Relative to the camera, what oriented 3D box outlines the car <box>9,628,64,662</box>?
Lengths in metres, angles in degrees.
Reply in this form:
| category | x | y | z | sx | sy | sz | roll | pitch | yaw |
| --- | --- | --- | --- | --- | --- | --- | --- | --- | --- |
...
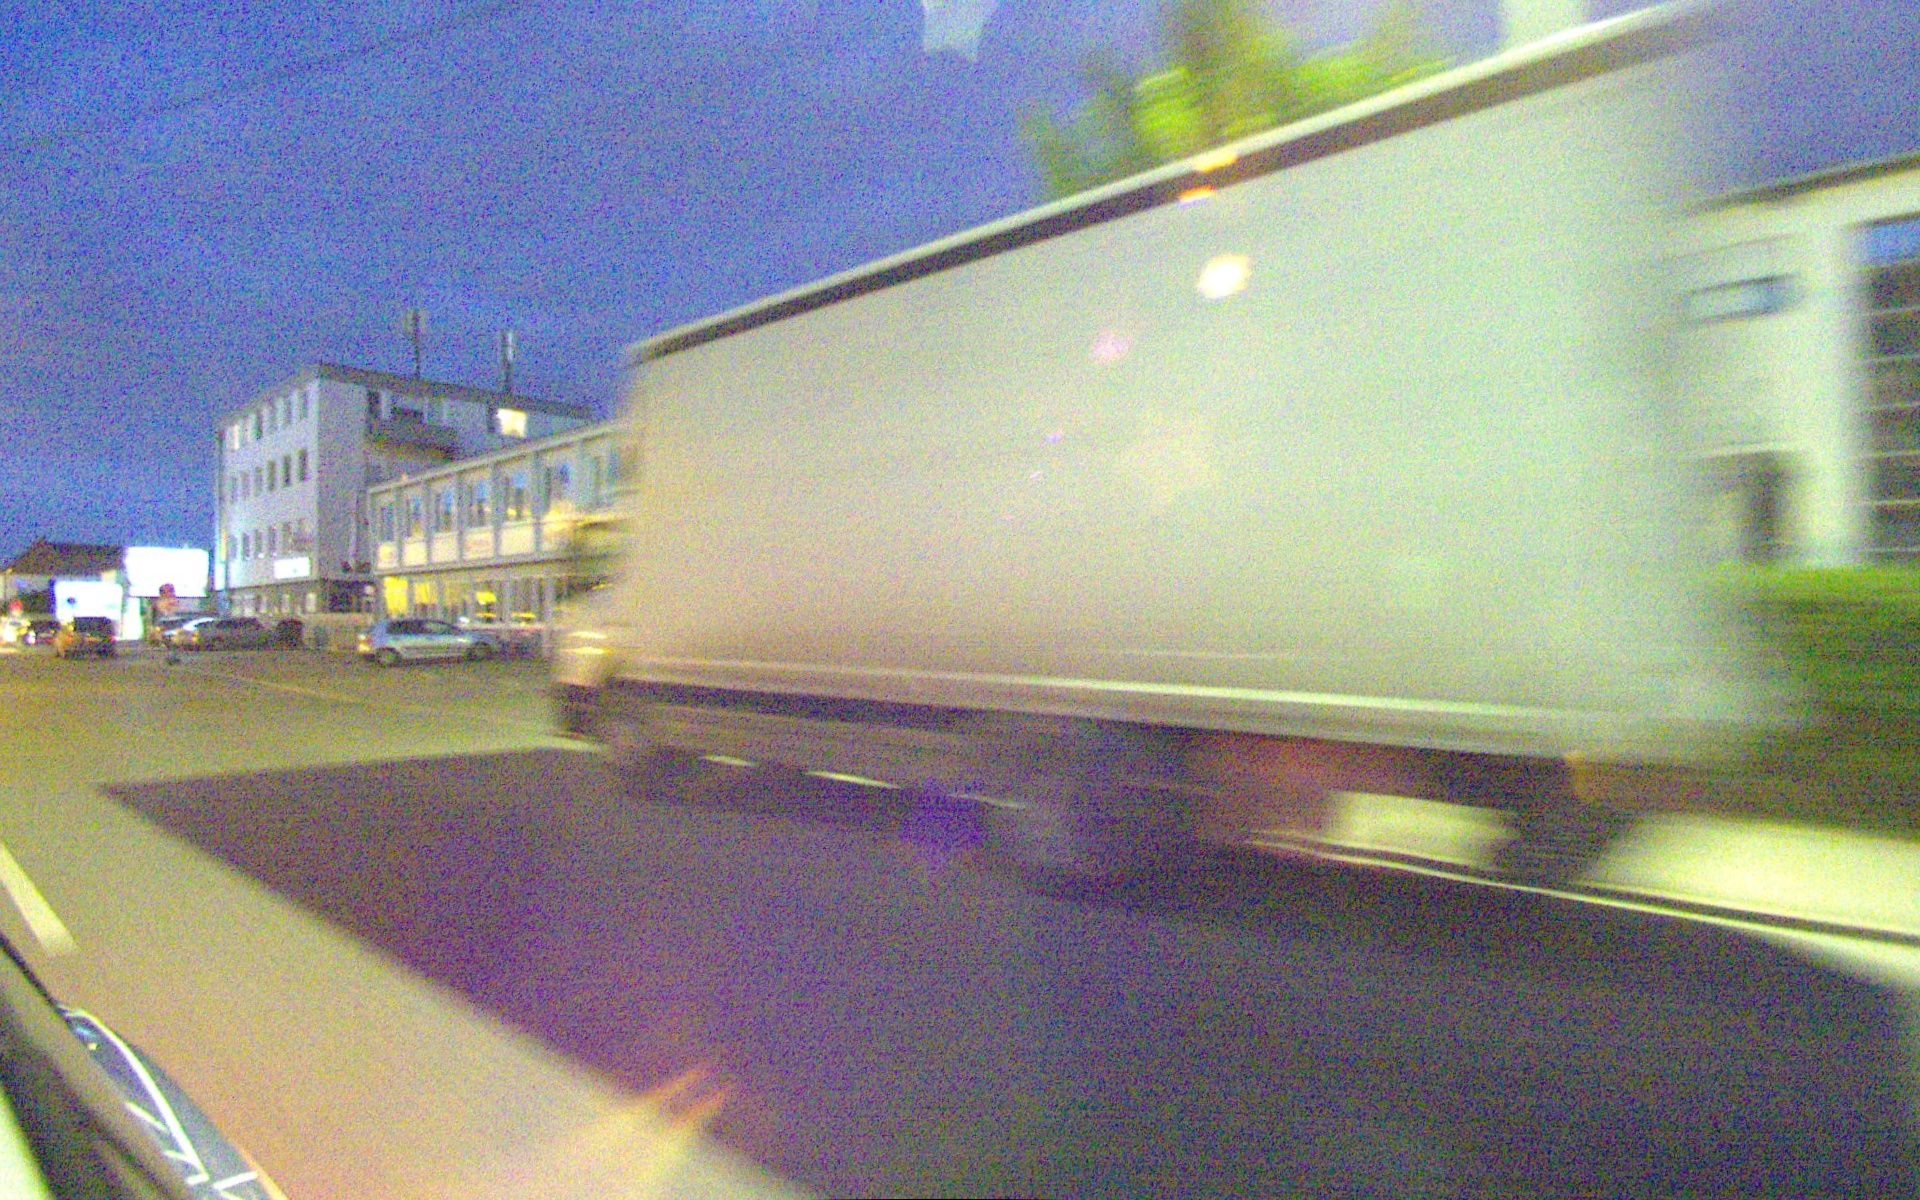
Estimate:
| category | x | y | z | sx | sy | sz | roll | pitch | yaw |
| --- | --- | --- | --- | --- | --- | --- | --- | --- | --- |
| car | -48.621 | 2.339 | 53.250 | 4.818 | 1.701 | 1.925 | -2 | -2 | 45 |

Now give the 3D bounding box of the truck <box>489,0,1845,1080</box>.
| category | x | y | z | sx | sy | sz | roll | pitch | yaw |
| --- | --- | --- | --- | --- | --- | --- | --- | --- | --- |
| truck | 0.054 | -0.406 | 7.424 | 9.554 | 4.065 | 2.718 | -1 | -2 | 41 |

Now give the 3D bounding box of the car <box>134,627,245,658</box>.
| category | x | y | z | sx | sy | sz | roll | pitch | yaw |
| --- | --- | --- | --- | --- | --- | --- | --- | --- | --- |
| car | -40.928 | 2.238 | 53.901 | 1.984 | 1.572 | 4.388 | -1 | -1 | 18 |

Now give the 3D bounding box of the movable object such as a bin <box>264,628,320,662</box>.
| category | x | y | z | sx | sy | sz | roll | pitch | yaw |
| --- | --- | --- | --- | --- | --- | --- | --- | --- | --- |
| movable object such as a bin | -30.727 | 2.058 | 46.585 | 1.609 | 1.511 | 1.837 | -2 | -1 | 43 |

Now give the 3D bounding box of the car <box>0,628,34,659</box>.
| category | x | y | z | sx | sy | sz | roll | pitch | yaw |
| --- | --- | --- | --- | --- | --- | --- | --- | --- | --- |
| car | -56.738 | 2.587 | 60.401 | 4.878 | 1.812 | 1.784 | -2 | -2 | 43 |

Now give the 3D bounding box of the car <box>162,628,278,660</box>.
| category | x | y | z | sx | sy | sz | roll | pitch | yaw |
| --- | --- | --- | --- | --- | --- | --- | --- | --- | --- |
| car | -35.046 | 2.047 | 48.079 | 1.776 | 1.451 | 4.395 | -1 | -1 | 13 |

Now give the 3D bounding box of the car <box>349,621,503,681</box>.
| category | x | y | z | sx | sy | sz | roll | pitch | yaw |
| --- | --- | --- | --- | --- | --- | --- | --- | --- | --- |
| car | -16.615 | 1.541 | 31.597 | 4.071 | 1.443 | 1.902 | -5 | 1 | -29 |

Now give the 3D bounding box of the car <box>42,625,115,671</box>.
| category | x | y | z | sx | sy | sz | roll | pitch | yaw |
| --- | --- | --- | --- | --- | --- | --- | --- | --- | --- |
| car | -37.633 | 2.010 | 43.173 | 4.413 | 1.863 | 1.794 | -1 | -2 | 42 |

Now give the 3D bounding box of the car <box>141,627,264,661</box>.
| category | x | y | z | sx | sy | sz | roll | pitch | yaw |
| --- | --- | --- | --- | --- | --- | --- | --- | --- | --- |
| car | -37.186 | 2.141 | 49.844 | 1.980 | 1.563 | 4.651 | -1 | -1 | 13 |
